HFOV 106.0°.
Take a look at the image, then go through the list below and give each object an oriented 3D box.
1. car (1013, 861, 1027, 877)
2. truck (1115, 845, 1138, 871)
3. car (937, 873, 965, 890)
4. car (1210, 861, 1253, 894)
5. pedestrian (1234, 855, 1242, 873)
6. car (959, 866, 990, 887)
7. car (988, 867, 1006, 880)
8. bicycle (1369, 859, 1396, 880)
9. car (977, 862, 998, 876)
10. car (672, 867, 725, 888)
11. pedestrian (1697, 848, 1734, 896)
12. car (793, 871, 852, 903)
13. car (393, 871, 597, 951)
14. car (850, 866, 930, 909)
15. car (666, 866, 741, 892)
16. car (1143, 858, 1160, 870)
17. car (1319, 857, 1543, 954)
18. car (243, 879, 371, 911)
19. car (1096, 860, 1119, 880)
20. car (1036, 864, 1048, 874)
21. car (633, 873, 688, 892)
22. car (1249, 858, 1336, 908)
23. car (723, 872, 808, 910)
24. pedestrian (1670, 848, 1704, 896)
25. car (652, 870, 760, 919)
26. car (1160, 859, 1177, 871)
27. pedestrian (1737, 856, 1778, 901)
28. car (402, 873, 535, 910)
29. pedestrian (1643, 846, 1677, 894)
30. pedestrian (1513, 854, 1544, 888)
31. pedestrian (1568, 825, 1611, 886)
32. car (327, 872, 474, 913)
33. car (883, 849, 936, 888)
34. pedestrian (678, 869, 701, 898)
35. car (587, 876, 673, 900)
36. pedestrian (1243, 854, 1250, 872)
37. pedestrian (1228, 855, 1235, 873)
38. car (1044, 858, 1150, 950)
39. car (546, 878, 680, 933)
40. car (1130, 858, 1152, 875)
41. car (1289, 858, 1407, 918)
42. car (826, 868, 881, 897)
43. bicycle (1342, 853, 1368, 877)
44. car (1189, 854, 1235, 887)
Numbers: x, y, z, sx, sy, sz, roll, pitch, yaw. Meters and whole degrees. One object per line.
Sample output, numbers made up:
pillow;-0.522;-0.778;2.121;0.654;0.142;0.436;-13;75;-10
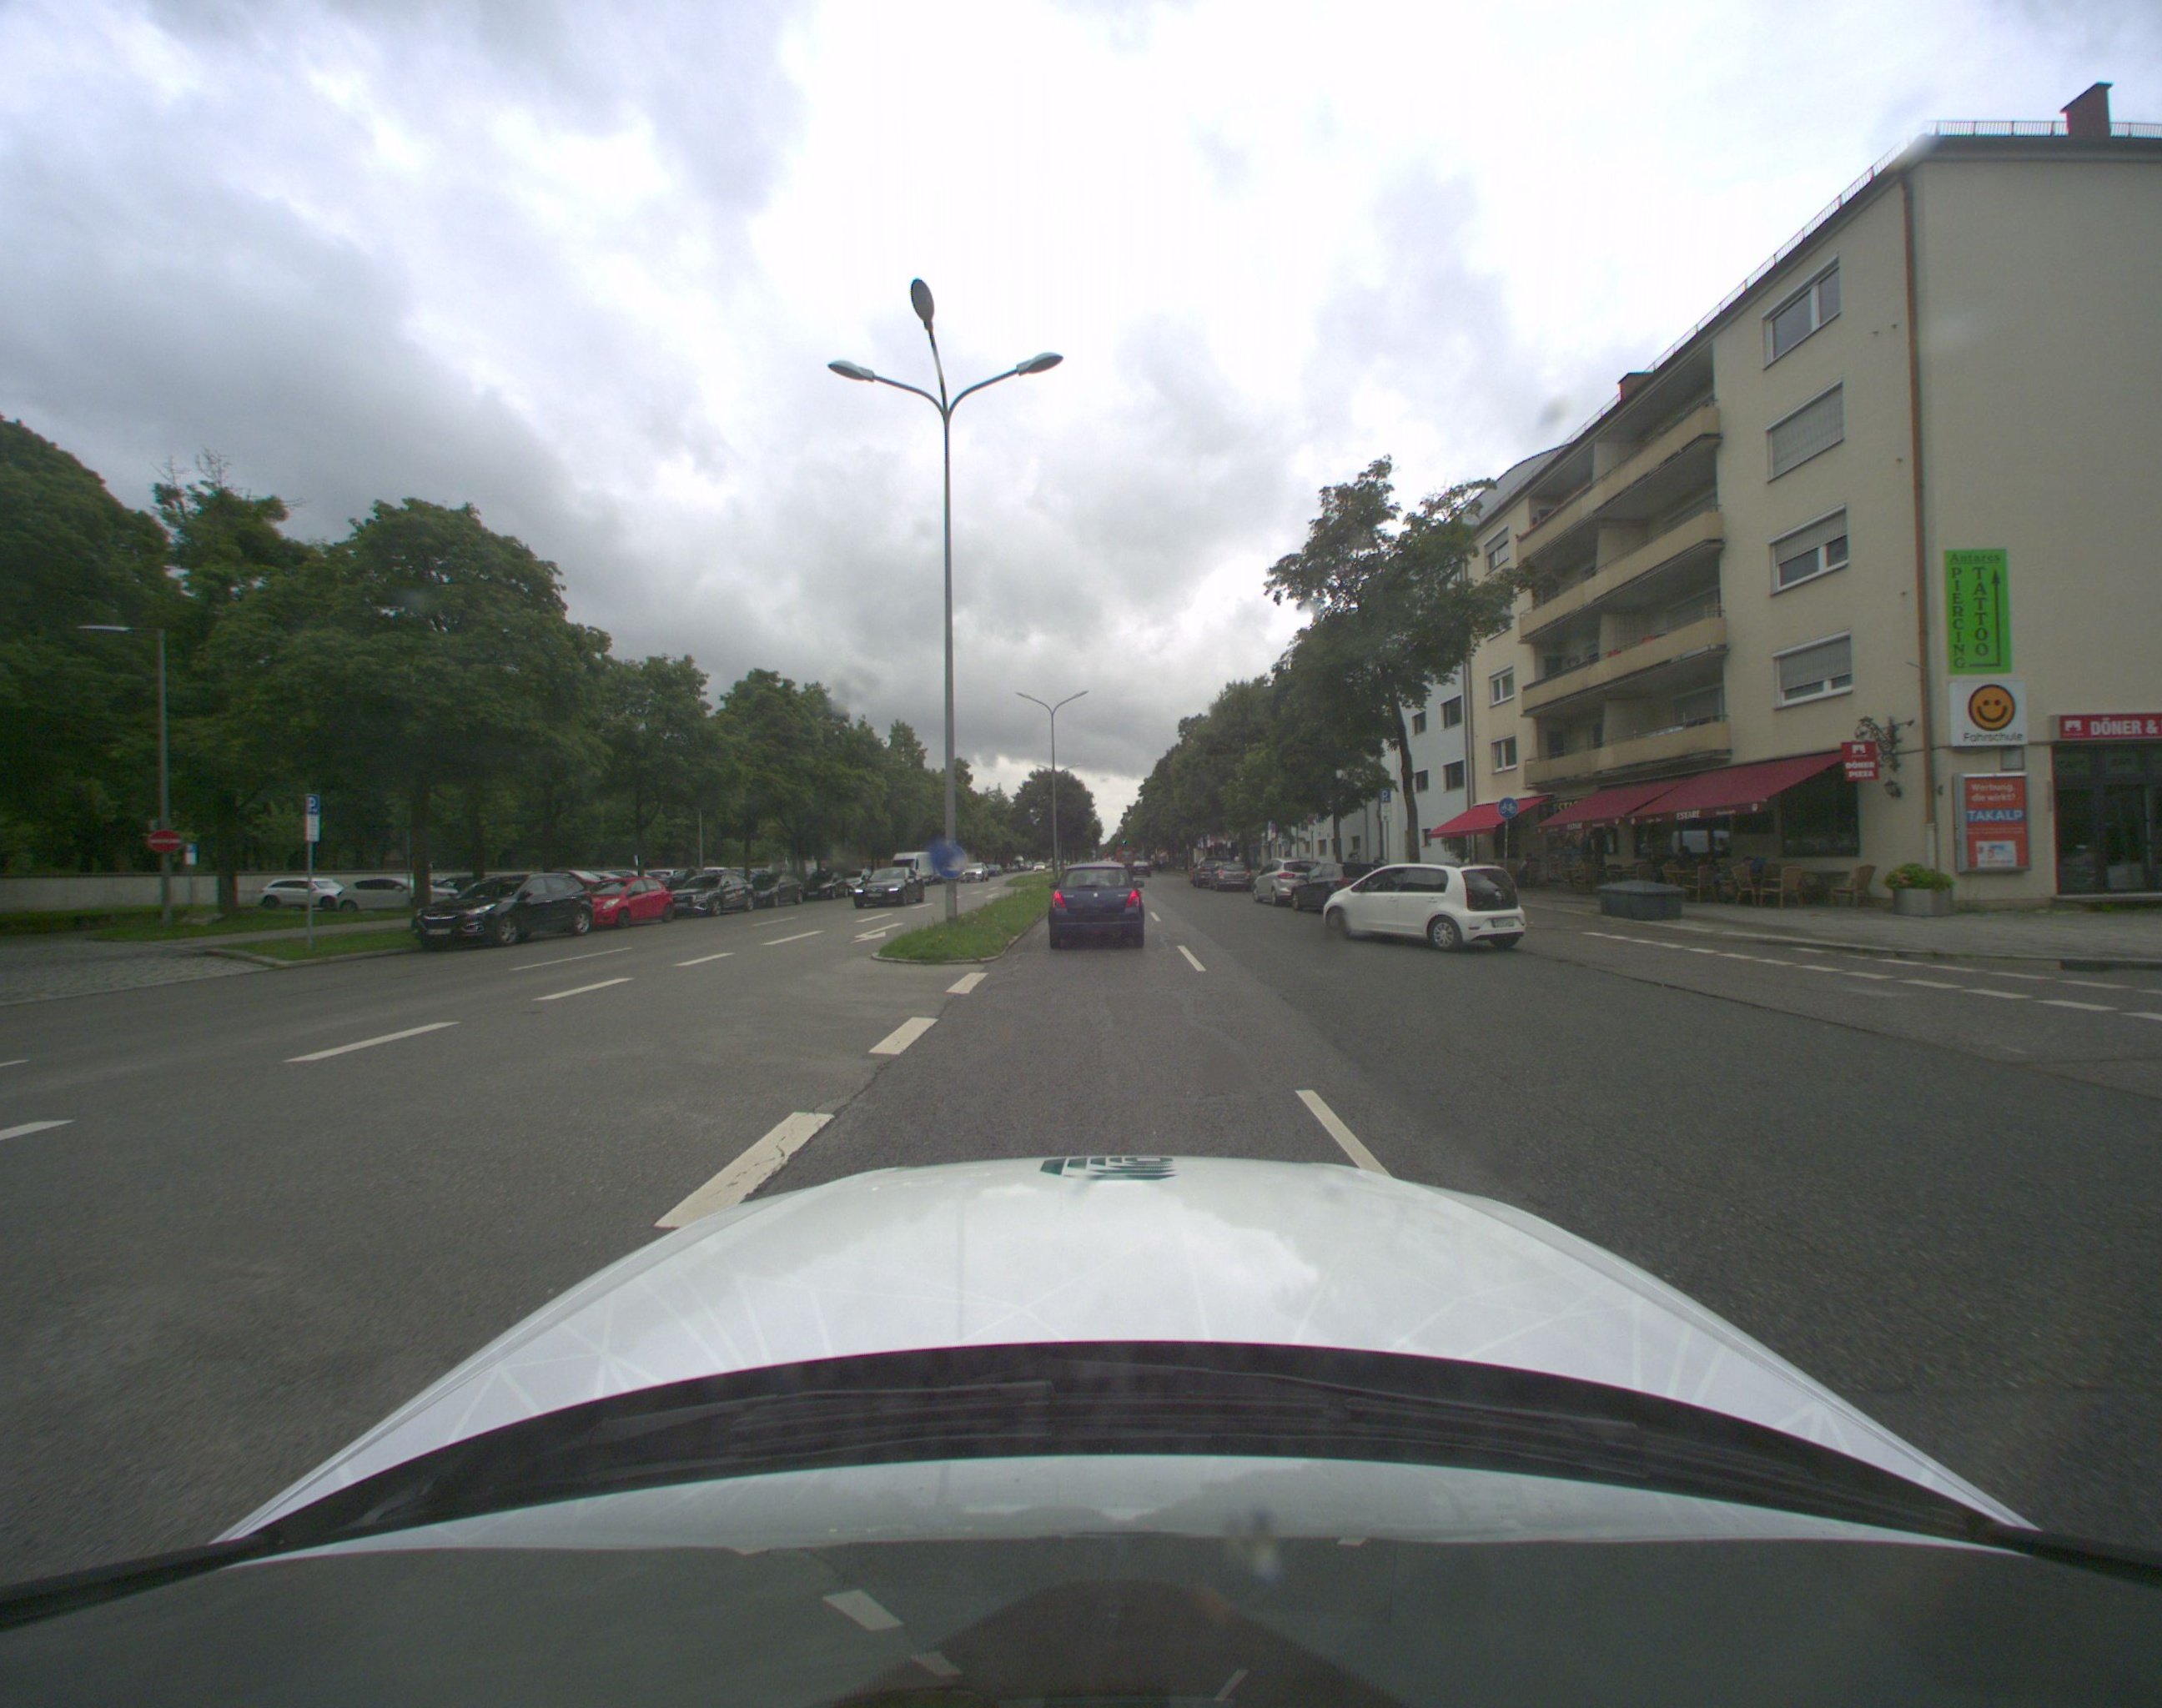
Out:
car;-11.522;2.718;153.230;2.179;2.954;6.189;0;-1;-1
truck;6.505;0.599;116.895;3.029;3.557;13.682;-1;-1;3
car;-12.179;2.589;76.438;1.851;1.491;4.141;-1;-2;0
car;7.432;1.123;40.477;1.819;1.522;3.778;-1;-1;7
pedestrian;15.095;0.969;78.351;0.547;1.629;0.641;-3;-1;2
car;-9.039;1.899;69.537;1.844;1.600;4.404;-3;-1;2
car;-10.816;2.468;104.766;1.632;1.537;4.316;-4;-1;1
bicycle;16.561;0.853;44.797;0.619;1.046;2.196;-5;-1;2
car;-11.334;1.807;99.124;1.881;1.537;4.313;-4;-1;0
car;-39.051;2.347;83.232;4.489;2.034;2.000;-1;-1;1
pedestrian;16.295;0.459;20.926;0.536;1.214;0.487;-1;-1;1
car;-13.163;1.643;41.693;1.817;1.447;3.996;-3;-1;-3
car;-13.901;1.283;19.682;1.815;1.700;4.239;-1;-2;0
car;-7.245;1.223;31.336;1.809;1.448;4.782;-2;-1;1
car;-24.640;1.593;53.211;3.970;1.570;1.816;-1;-1;3
car;9.083;1.289;105.645;1.986;1.452;4.002;-1;-1;2
car;6.122;0.828;14.604;1.695;1.490;3.405;-1;-1;-26
car;-38.749;2.030;40.842;4.489;1.442;2.000;-1;-1;1
car;2.043;1.206;63.436;1.712;1.501;4.302;-1;-1;1
car;-6.479;2.568;136.951;1.756;1.537;4.312;-4;-1;-1
car;-37.261;2.523;72.208;3.966;1.596;1.773;-1;-1;6
car;7.098;0.922;27.849;1.823;1.522;4.523;-1;-1;0
car;-13.462;1.548;35.061;1.813;1.409;4.004;-3;-1;4
pedestrian;16.302;0.475;21.913;0.536;1.268;0.487;-1;-1;0
car;-13.530;1.406;29.664;1.814;1.599;4.116;-1;-1;3
car;12.169;1.558;113.185;1.986;1.643;4.335;-1;-1;2
pedestrian;16.082;0.584;19.366;0.536;1.054;0.487;-1;-1;1
car;-26.174;1.592;34.931;4.122;1.442;1.999;-1;-1;-1
pedestrian;16.434;0.456;23.130;0.536;1.339;0.552;-1;-1;0
pedestrian;15.897;0.603;28.940;0.741;1.163;0.647;-1;-1;1
pedestrian;16.624;0.049;26.645;0.869;1.929;0.757;-1;-1;-15
car;-26.591;1.479;31.938;3.979;1.442;1.997;-1;-1;-4
car;-12.696;1.052;60.818;2.131;2.644;7.108;-3;0;2
pedestrian;-20.789;1.569;43.269;0.792;1.495;0.856;-2;-1;2
car;-26.199;1.959;47.409;3.981;1.258;1.687;-1;-1;-5
pedestrian;16.031;0.870;78.770;0.539;1.640;0.725;-1;-1;2
pedestrian;14.500;0.955;78.365;0.498;1.733;0.733;-1;-1;2
car;0.356;0.857;15.692;1.746;1.505;4.002;-1;-1;2
car;-14.050;1.502;24.735;1.815;1.479;3.809;-1;-2;0
car;5.522;1.166;74.994;1.815;1.477;4.692;1;-1;1
car;7.246;0.867;22.516;1.825;1.473;3.883;-1;-1;-3
car;-13.052;1.640;46.986;1.815;1.528;4.298;-3;-2;0
bicycle;16.472;0.665;49.057;0.700;1.407;2.594;-3;-1;2
car;7.260;0.883;45.565;1.823;1.746;4.508;-1;-1;0
